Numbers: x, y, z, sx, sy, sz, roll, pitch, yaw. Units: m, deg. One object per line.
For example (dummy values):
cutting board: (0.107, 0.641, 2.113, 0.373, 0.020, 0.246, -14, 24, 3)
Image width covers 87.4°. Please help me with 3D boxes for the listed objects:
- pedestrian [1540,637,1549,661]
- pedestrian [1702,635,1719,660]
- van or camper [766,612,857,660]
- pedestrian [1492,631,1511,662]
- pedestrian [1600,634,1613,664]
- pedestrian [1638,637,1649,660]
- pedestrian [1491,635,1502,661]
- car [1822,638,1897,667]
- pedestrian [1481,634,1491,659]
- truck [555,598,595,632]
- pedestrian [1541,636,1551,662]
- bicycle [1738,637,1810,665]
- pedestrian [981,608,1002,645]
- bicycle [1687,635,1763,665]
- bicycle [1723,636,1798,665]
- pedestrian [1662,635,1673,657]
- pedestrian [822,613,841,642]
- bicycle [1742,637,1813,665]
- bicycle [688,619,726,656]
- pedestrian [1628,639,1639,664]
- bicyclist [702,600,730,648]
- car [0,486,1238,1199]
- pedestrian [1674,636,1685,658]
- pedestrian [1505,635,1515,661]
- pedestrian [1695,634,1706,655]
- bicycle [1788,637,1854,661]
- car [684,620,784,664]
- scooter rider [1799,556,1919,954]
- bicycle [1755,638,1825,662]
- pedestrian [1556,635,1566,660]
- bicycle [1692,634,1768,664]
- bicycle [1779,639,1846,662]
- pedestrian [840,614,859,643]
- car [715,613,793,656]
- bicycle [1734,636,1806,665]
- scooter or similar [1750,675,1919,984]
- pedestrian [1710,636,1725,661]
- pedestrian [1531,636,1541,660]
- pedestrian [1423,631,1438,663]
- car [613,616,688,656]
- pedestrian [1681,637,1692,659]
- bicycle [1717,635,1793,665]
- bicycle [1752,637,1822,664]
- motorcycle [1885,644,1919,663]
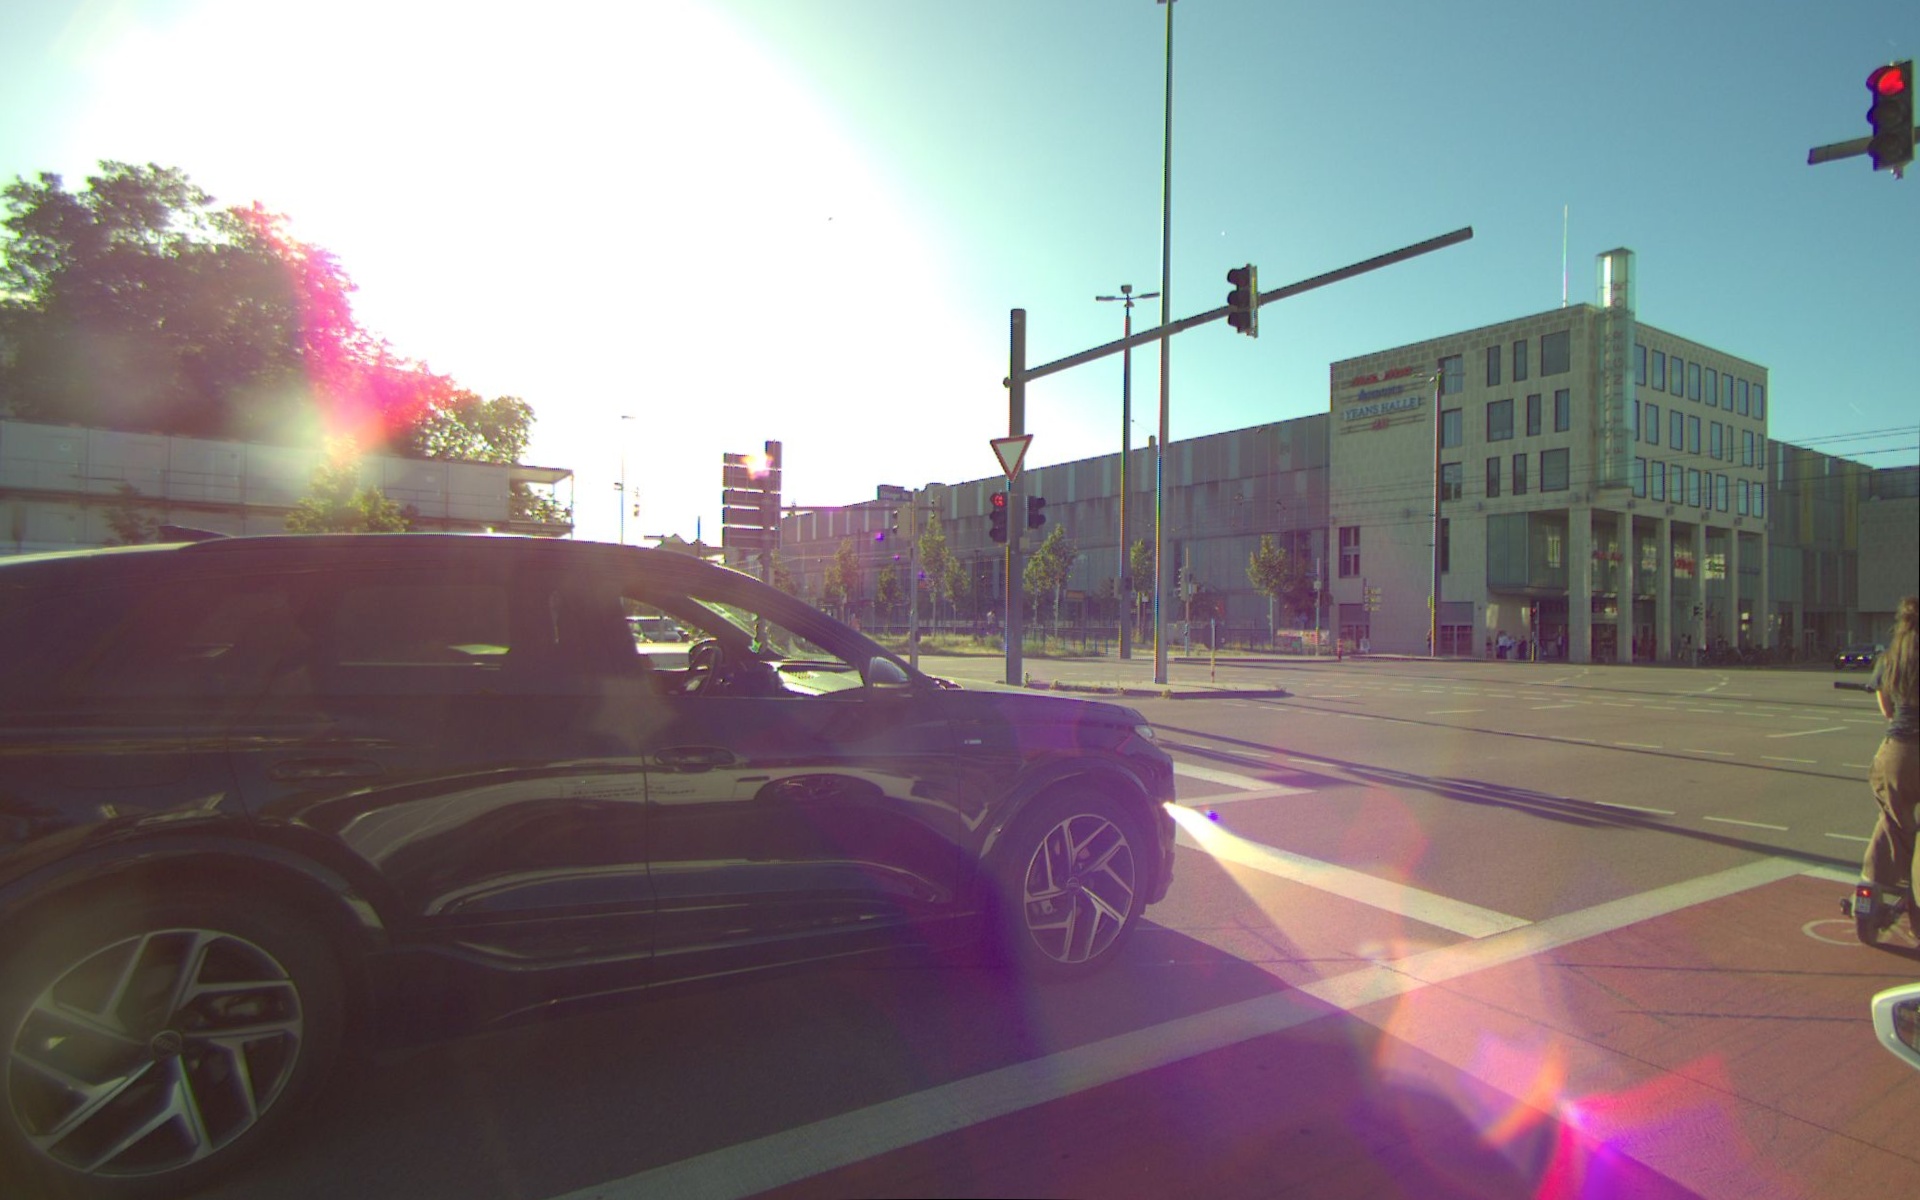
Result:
pedestrian: (34.817, 2.900, 59.844, 0.382, 1.431, 0.435, -1, -2, 44)
pedestrian: (51.762, 3.258, 69.294, 0.688, 1.664, 0.779, 1, -1, -36)
van or camper: (-6.686, 1.575, 44.835, 1.981, 2.040, 4.821, 1, -2, -36)
pedestrian: (32.295, 2.793, 59.950, 0.729, 1.822, 0.752, 1, -1, -34)
pedestrian: (36.372, 2.776, 56.526, 0.534, 1.664, 0.548, 0, -1, 39)
pedestrian: (44.958, 3.196, 66.075, 0.508, 1.530, 0.479, 1, -1, -34)
pedestrian: (32.753, 2.916, 61.335, 0.452, 1.586, 0.420, 1, -1, -30)
car: (49.728, 2.893, 55.544, 3.953, 1.505, 1.984, 1, -1, -30)
pedestrian: (32.222, 2.855, 61.536, 0.454, 1.521, 0.418, 1, -1, -41)
truck: (-33.480, 1.315, 87.249, 1.979, 2.875, 6.293, 1, -2, -33)
pedestrian: (37.494, 3.126, 64.275, 0.493, 1.606, 0.426, 1, -1, -34)
bicycle: (51.944, 3.220, 64.160, 0.979, 1.719, 3.462, 1, -2, -40)
pedestrian: (1.584, 1.326, 50.593, 0.788, 1.855, 0.706, 1, -1, -37)
bicycle: (45.698, 2.970, 60.034, 1.107, 1.719, 3.465, 1, -2, -38)
bicycle: (49.143, 3.073, 61.741, 1.107, 1.719, 3.465, 1, -2, -38)
pedestrian: (50.132, 3.259, 71.133, 0.508, 1.530, 0.479, 1, -1, -34)
pedestrian: (-8.356, 1.784, 65.256, 0.891, 1.855, 0.786, 4, -2, -39)
bicycle: (52.858, 3.252, 64.964, 0.979, 1.719, 3.462, 1, -2, -40)
bicycle: (-14.466, 2.123, 57.354, 1.007, 2.040, 3.472, 1, -2, -33)
pedestrian: (44.201, 3.398, 65.927, 0.508, 1.606, 0.479, 1, -1, -34)
bicyclist: (-13.621, 1.340, 56.119, 1.007, 2.677, 1.610, 1, -1, -34)
car: (-1.214, 0.625, 3.931, 4.567, 1.666, 1.921, 1, -1, -33)
pedestrian: (50.522, 3.267, 70.528, 0.508, 1.530, 0.479, 1, -1, -34)
pedestrian: (33.441, 2.916, 61.090, 0.453, 1.547, 0.418, 1, -1, -37)
pedestrian: (53.428, 3.221, 72.479, 0.508, 1.530, 0.479, 1, -1, -34)
bicycle: (60.380, 3.427, 70.473, 0.979, 1.547, 3.462, 2, -2, -40)
car: (-9.398, 1.698, 41.512, 2.313, 1.671, 4.821, 1, -2, -37)
scooter rider: (4.649, 0.709, 4.817, 0.801, 1.798, 0.725, 1, -1, -30)
bicycle: (55.255, 3.322, 66.923, 0.979, 1.547, 3.462, 2, -2, -40)
pedestrian: (39.157, 3.094, 65.444, 0.493, 1.606, 0.426, 1, -1, -34)
bicycle: (46.577, 2.943, 60.800, 1.107, 1.719, 3.465, 1, -2, -38)
bicycle: (58.873, 3.472, 69.391, 0.979, 1.547, 3.462, 2, -2, -40)
pedestrian: (-7.038, 1.803, 63.946, 0.889, 1.855, 0.787, 1, -1, -35)
car: (-10.391, 1.688, 50.418, 1.981, 2.040, 4.821, 1, -2, -36)
bicycle: (51.119, 3.183, 63.426, 0.979, 1.719, 3.462, 1, -2, -40)
scooter or similar: (4.583, 1.002, 4.795, 1.645, 1.218, 0.725, 1, -1, -30)
pedestrian: (51.095, 3.255, 67.788, 0.689, 1.664, 0.648, 1, -1, -38)
pedestrian: (34.492, 2.857, 60.124, 0.382, 1.445, 0.499, -1, -1, 45)
pedestrian: (25.060, 2.503, 53.521, 0.542, 1.716, 0.523, 1, -1, -32)
car: (-14.932, 1.699, 48.282, 1.981, 1.849, 4.821, 1, -2, -36)
pedestrian: (52.075, 3.433, 72.012, 0.592, 1.606, 0.479, 1, -1, -34)
bicycle: (48.214, 3.006, 60.940, 1.107, 1.719, 3.465, 1, -2, -38)
bicycle: (54.504, 3.314, 66.254, 0.979, 1.719, 3.462, 1, -2, -40)
motorcycle: (70.745, 4.010, 75.087, 0.713, 1.335, 2.260, 1, -2, -34)
